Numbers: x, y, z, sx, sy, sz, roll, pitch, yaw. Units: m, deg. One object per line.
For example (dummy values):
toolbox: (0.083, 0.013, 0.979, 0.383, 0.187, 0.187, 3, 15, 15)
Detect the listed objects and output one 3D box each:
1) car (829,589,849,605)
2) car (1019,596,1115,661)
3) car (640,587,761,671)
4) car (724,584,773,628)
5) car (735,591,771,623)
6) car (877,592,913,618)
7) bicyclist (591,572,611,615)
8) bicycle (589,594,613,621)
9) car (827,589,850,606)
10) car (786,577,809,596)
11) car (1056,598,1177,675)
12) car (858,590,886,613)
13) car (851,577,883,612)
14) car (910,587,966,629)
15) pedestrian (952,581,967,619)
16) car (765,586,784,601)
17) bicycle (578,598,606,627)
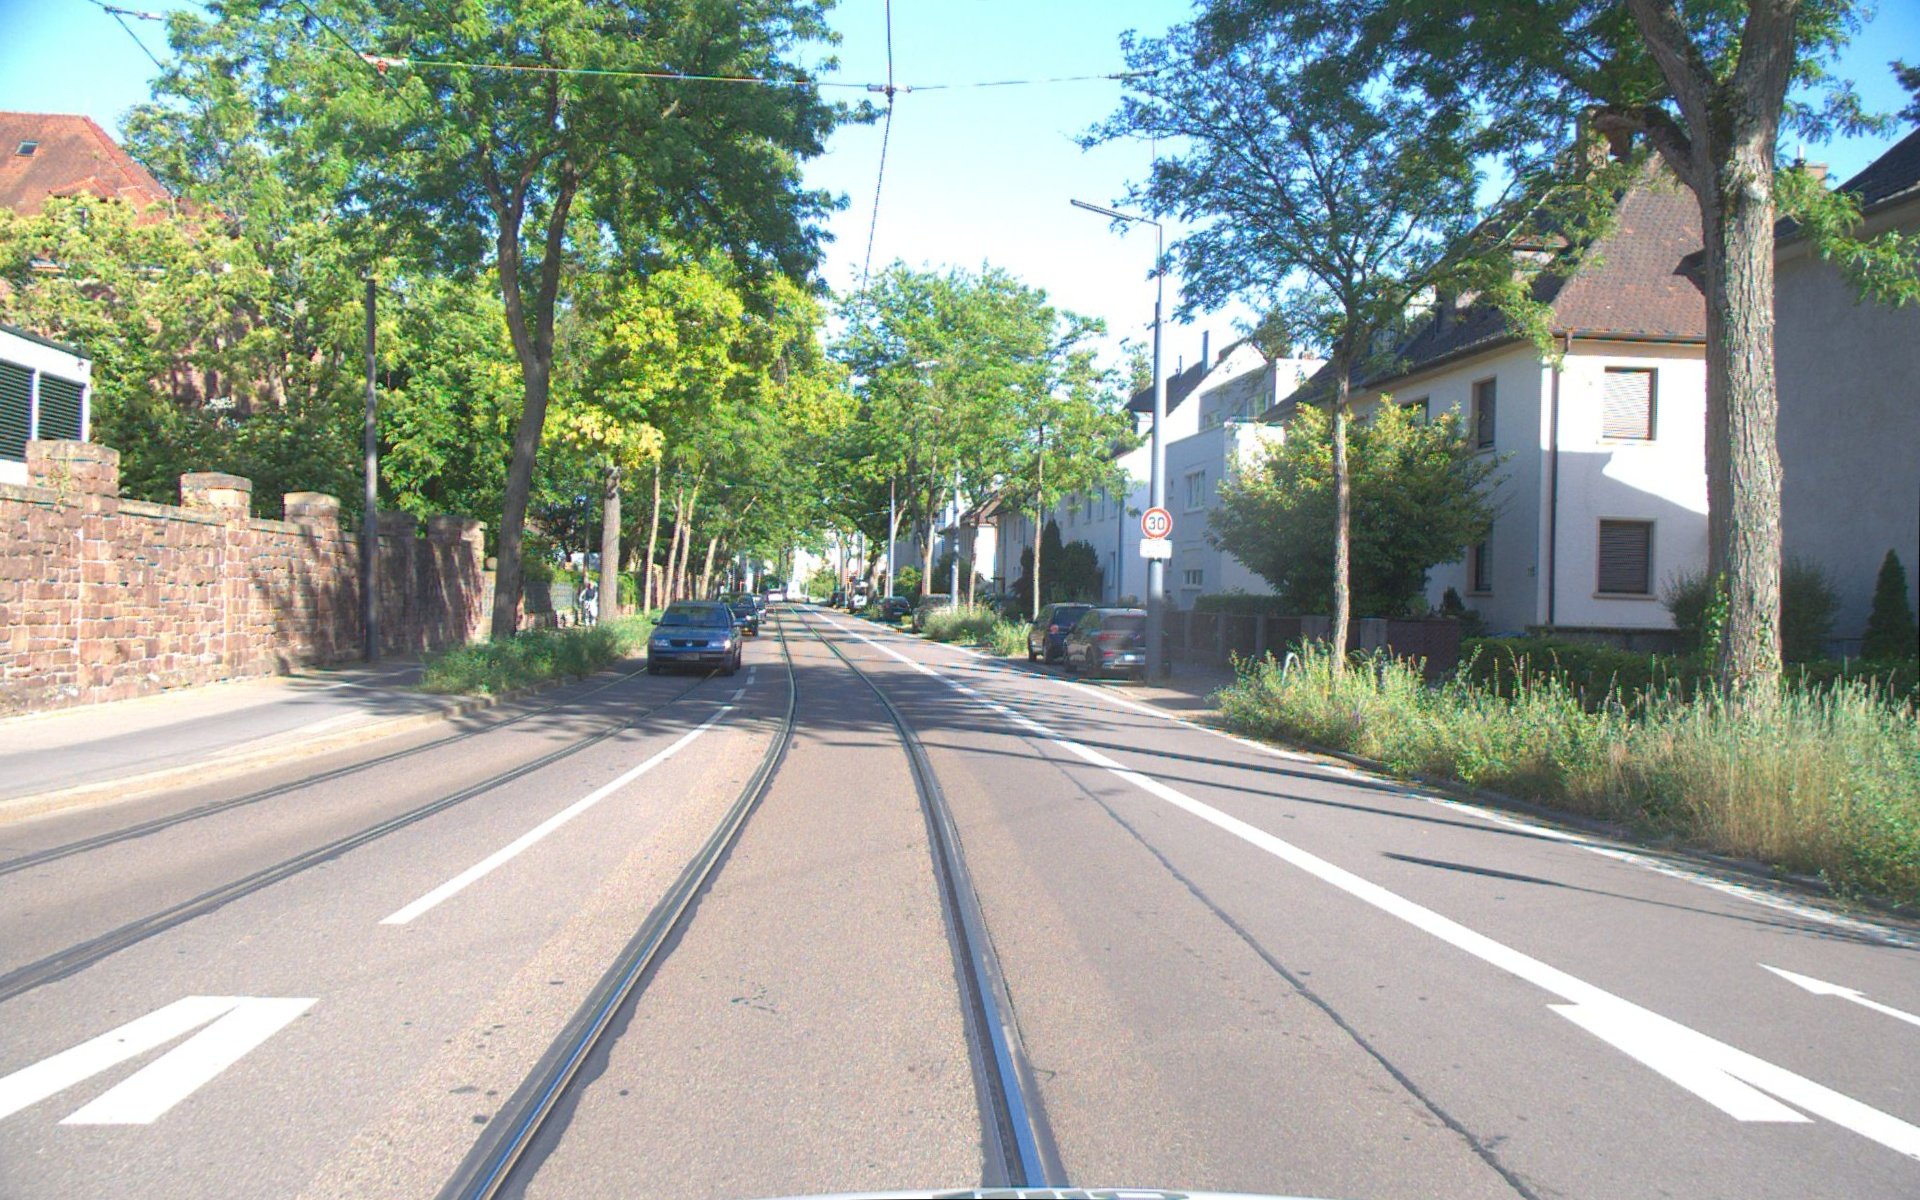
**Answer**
car: (-13.174, -0.295, 180.349, 1.963, 1.704, 4.390, -1, 0, -3)
car: (2.628, 0.676, 41.588, 1.715, 1.521, 3.991, 0, 0, -7)
car: (-5.217, 0.557, 33.794, 1.954, 1.551, 4.576, 2, 0, -3)
car: (-7.852, 0.202, 61.552, 1.715, 1.551, 4.030, 2, 0, -7)
car: (-10.473, 0.353, 83.864, 1.715, 1.551, 4.064, 2, 0, -7)
car: (-3.968, 0.302, 100.141, 1.751, 1.473, 4.293, -2, 1, -8)
bicyclist: (-13.289, -0.249, 61.280, 0.582, 1.554, 1.060, 1, 0, -6)
bicycle: (-13.304, 0.266, 61.321, 0.578, 0.977, 2.130, 1, 0, -6)
car: (-11.972, -0.252, 162.785, 1.965, 1.704, 4.386, -1, 0, -7)
car: (-20.821, -1.728, 211.749, 1.964, 2.501, 4.483, 1, 0, -19)
car: (3.295, 0.738, 35.671, 1.715, 1.521, 4.437, 0, 0, -7)
car: (-5.824, 0.065, 109.599, 1.596, 1.422, 3.640, -2, 1, -7)
car: (-7.411, -0.451, 131.027, 2.203, 2.700, 5.577, 0, 0, -7)
car: (-1.026, 0.329, 73.747, 1.956, 1.734, 4.470, -2, 1, -7)
pedestrian: (-0.020, 0.009, 83.381, 0.614, 1.903, 0.731, -2, 0, -8)
car: (-22.070, -0.814, 196.968, 1.833, 1.704, 4.161, 1, 0, -12)
bicycle: (-12.852, 0.420, 57.820, 0.697, 0.977, 2.092, 1, 0, -6)
